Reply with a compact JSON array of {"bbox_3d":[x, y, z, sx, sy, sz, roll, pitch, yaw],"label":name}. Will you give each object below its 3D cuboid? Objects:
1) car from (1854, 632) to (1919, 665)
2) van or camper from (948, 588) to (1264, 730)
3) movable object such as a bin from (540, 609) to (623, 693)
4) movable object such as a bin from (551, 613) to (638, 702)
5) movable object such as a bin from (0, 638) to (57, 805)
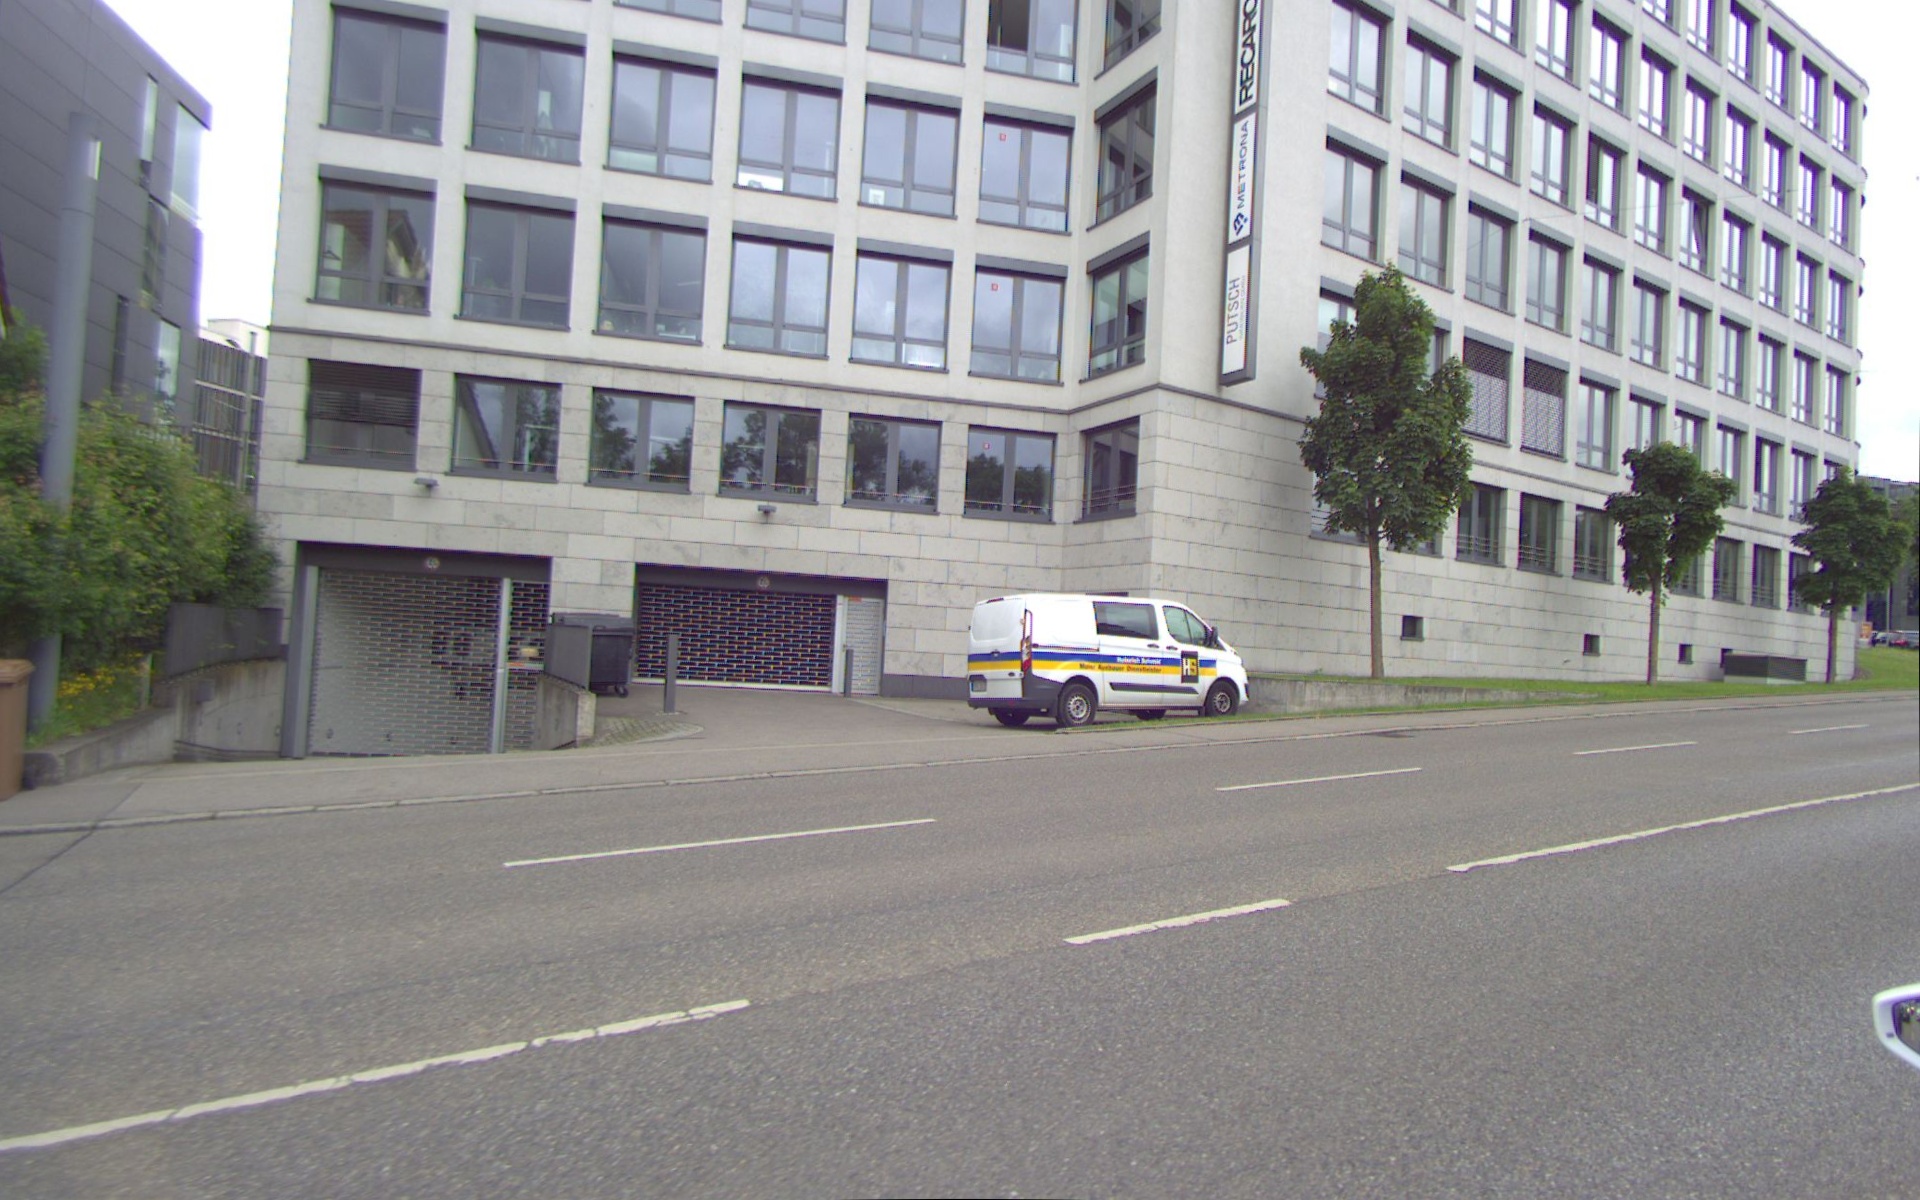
[{"bbox_3d":[45.892,2.353,48.295,4.356,1.483,1.780,2,1,-5],"label":"car"},{"bbox_3d":[2.394,0.931,16.209,4.814,1.993,2.052,1,-3,-29],"label":"van or camper"},{"bbox_3d":[-7.412,0.975,19.654,1.275,1.517,1.077,1,2,-34],"label":"movable object such as a bin"},{"bbox_3d":[-6.796,1.049,18.648,1.275,1.517,1.077,1,2,-34],"label":"movable object such as a bin"},{"bbox_3d":[-7.670,0.945,7.944,0.692,1.205,0.804,1,3,-36],"label":"movable object such as a bin"}]
